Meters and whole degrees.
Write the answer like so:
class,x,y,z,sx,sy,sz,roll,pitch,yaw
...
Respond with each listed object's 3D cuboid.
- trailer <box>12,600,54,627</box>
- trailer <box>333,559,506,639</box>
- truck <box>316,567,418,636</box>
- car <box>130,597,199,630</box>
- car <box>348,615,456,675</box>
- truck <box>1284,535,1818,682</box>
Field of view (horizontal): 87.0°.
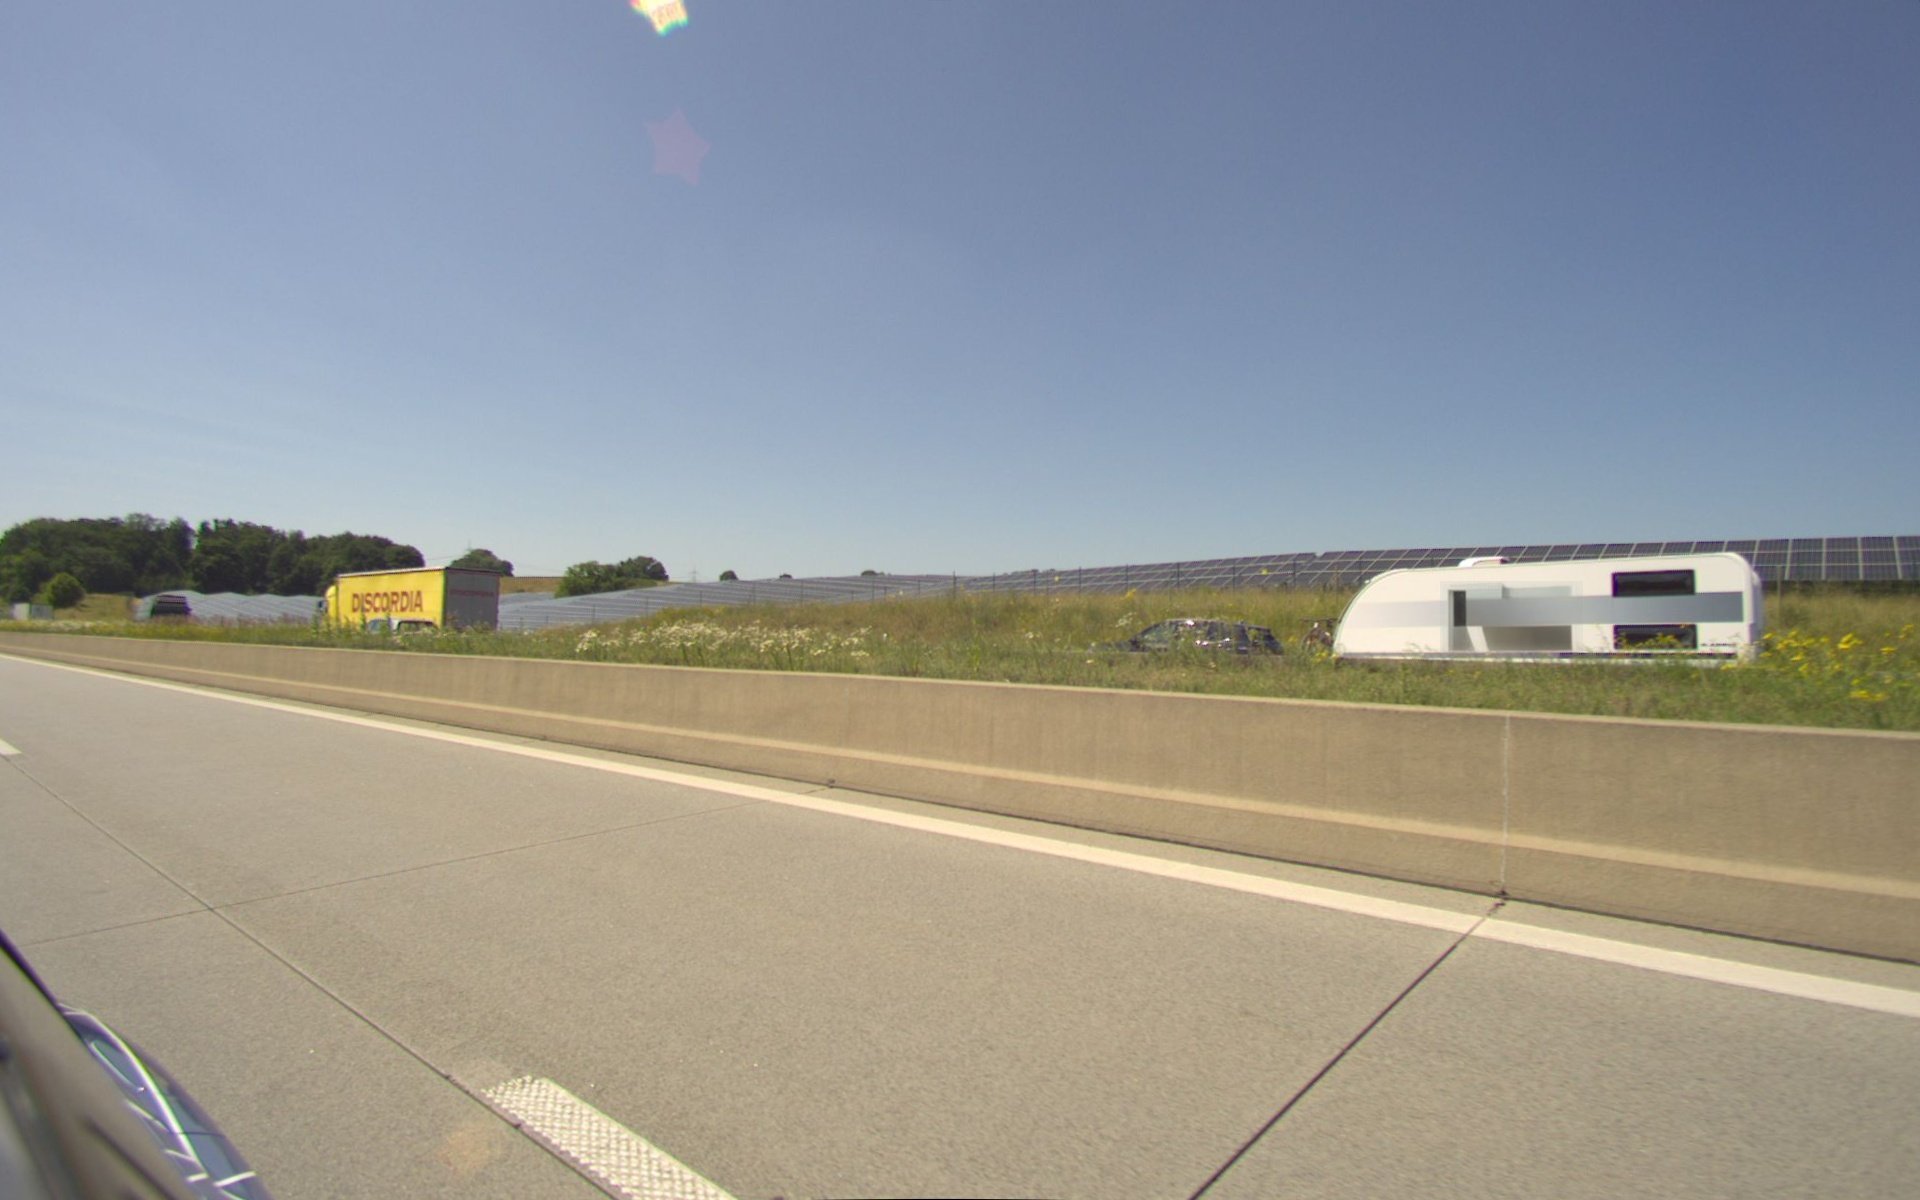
class,x,y,z,sx,sy,sz,roll,pitch,yaw
trailer,-128.198,1.806,139.921,11.759,3.551,3.042,-1,0,42
trailer,-27.613,0.060,51.155,14.013,3.577,2.901,-1,-2,41
truck,-32.466,0.133,55.319,6.344,3.567,2.892,-1,-2,41
car,-43.487,0.725,55.274,5.387,1.741,1.973,-1,0,41
car,-17.621,1.355,31.892,3.740,1.741,1.806,-1,0,41
truck,9.777,0.136,17.452,7.626,2.029,2.491,-1,0,41
